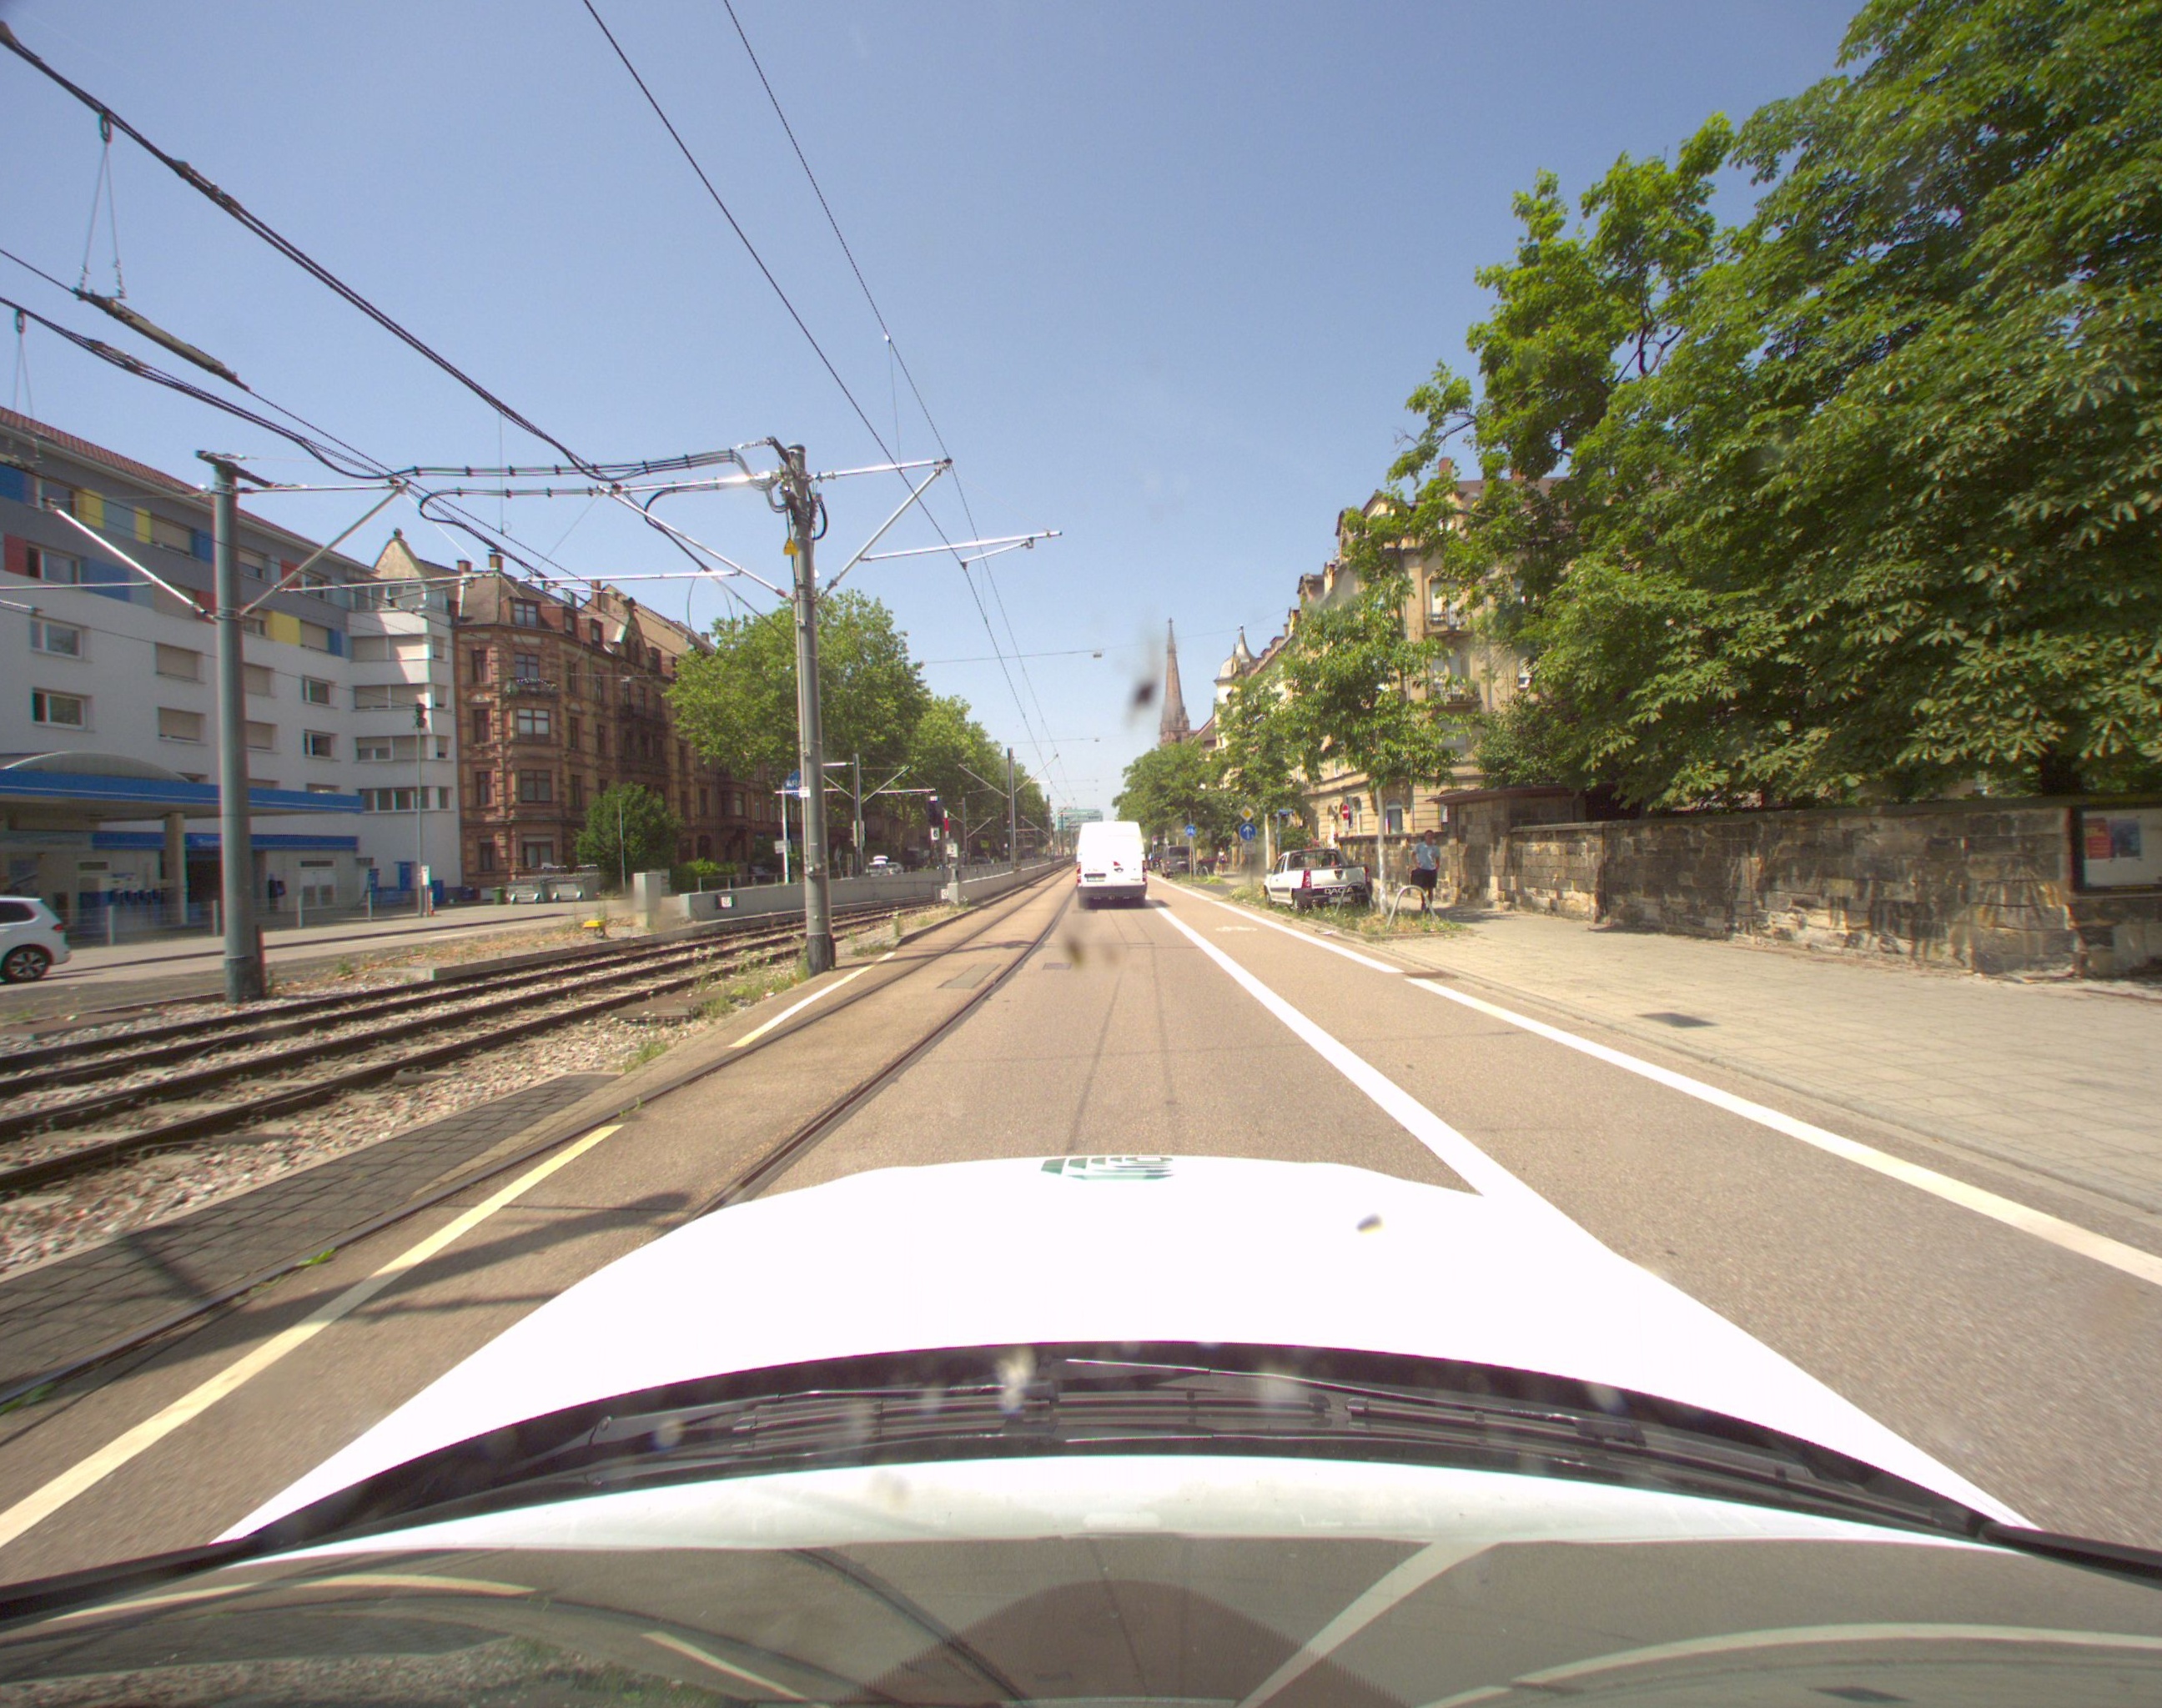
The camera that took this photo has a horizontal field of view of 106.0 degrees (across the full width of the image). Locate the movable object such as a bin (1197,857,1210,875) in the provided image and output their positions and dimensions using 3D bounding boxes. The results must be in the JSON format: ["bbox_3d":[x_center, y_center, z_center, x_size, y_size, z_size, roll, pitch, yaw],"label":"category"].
[{"bbox_3d":[6.973,0.683,46.334,0.595,1.011,0.564,-2,0,-9],"label":"movable object such as a bin"}]

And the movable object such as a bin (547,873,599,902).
[{"bbox_3d":[-27.080,1.768,43.432,1.777,1.385,1.469,-2,0,-1],"label":"movable object such as a bin"}]

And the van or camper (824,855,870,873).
[{"bbox_3d":[-26.564,1.121,92.569,4.520,1.836,1.936,-2,0,6],"label":"van or camper"}]

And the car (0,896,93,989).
[{"bbox_3d":[-20.613,1.698,13.849,1.840,1.625,4.604,-4,0,2],"label":"car"}]

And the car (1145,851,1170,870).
[{"bbox_3d":[6.710,0.543,71.651,1.723,1.536,4.404,-2,0,0],"label":"car"}]

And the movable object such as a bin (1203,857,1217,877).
[{"bbox_3d":[7.103,0.704,44.895,0.666,1.062,0.497,-2,0,7],"label":"movable object such as a bin"}]

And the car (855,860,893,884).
[{"bbox_3d":[-17.853,1.541,70.368,1.987,1.904,4.718,-2,0,0],"label":"car"}]

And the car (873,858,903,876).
[{"bbox_3d":[-17.928,1.161,75.849,1.784,1.556,4.086,-2,0,0],"label":"car"}]

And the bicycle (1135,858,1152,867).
[{"bbox_3d":[6.924,0.965,90.783,1.835,0.953,0.503,-2,0,2],"label":"bicycle"}]

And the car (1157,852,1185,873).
[{"bbox_3d":[6.490,0.565,58.762,1.605,1.405,4.001,-2,0,1],"label":"car"}]

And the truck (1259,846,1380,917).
[{"bbox_3d":[5.782,0.598,20.297,1.783,1.526,4.466,-2,0,1],"label":"truck"}]

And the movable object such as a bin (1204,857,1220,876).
[{"bbox_3d":[7.127,0.680,44.303,0.783,1.014,0.651,-2,0,7],"label":"movable object such as a bin"}]

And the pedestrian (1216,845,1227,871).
[{"bbox_3d":[8.799,0.238,50.994,0.549,1.598,0.728,-2,0,3],"label":"pedestrian"}]

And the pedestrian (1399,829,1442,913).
[{"bbox_3d":[7.328,0.357,17.601,0.619,1.754,0.679,-2,0,2],"label":"pedestrian"}]

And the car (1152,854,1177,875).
[{"bbox_3d":[6.690,0.809,65.776,1.661,1.530,4.014,-2,0,1],"label":"car"}]

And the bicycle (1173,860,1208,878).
[{"bbox_3d":[6.343,0.867,47.149,1.880,0.991,0.469,-2,0,-9],"label":"bicycle"}]

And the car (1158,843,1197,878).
[{"bbox_3d":[5.991,0.388,51.132,1.872,1.947,4.837,-3,0,1],"label":"car"}]

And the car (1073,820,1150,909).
[{"bbox_3d":[0.868,0.283,25.548,2.110,2.459,5.053,-2,0,0],"label":"car"}]

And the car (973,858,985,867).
[{"bbox_3d":[-16.837,1.432,134.624,1.368,1.423,3.089,-2,0,2],"label":"car"}]

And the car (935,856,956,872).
[{"bbox_3d":[-14.977,1.105,90.446,1.648,1.684,3.707,-2,0,0],"label":"car"}]

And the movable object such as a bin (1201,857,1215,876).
[{"bbox_3d":[7.132,0.711,45.660,0.742,1.062,0.497,-2,0,7],"label":"movable object such as a bin"}]
